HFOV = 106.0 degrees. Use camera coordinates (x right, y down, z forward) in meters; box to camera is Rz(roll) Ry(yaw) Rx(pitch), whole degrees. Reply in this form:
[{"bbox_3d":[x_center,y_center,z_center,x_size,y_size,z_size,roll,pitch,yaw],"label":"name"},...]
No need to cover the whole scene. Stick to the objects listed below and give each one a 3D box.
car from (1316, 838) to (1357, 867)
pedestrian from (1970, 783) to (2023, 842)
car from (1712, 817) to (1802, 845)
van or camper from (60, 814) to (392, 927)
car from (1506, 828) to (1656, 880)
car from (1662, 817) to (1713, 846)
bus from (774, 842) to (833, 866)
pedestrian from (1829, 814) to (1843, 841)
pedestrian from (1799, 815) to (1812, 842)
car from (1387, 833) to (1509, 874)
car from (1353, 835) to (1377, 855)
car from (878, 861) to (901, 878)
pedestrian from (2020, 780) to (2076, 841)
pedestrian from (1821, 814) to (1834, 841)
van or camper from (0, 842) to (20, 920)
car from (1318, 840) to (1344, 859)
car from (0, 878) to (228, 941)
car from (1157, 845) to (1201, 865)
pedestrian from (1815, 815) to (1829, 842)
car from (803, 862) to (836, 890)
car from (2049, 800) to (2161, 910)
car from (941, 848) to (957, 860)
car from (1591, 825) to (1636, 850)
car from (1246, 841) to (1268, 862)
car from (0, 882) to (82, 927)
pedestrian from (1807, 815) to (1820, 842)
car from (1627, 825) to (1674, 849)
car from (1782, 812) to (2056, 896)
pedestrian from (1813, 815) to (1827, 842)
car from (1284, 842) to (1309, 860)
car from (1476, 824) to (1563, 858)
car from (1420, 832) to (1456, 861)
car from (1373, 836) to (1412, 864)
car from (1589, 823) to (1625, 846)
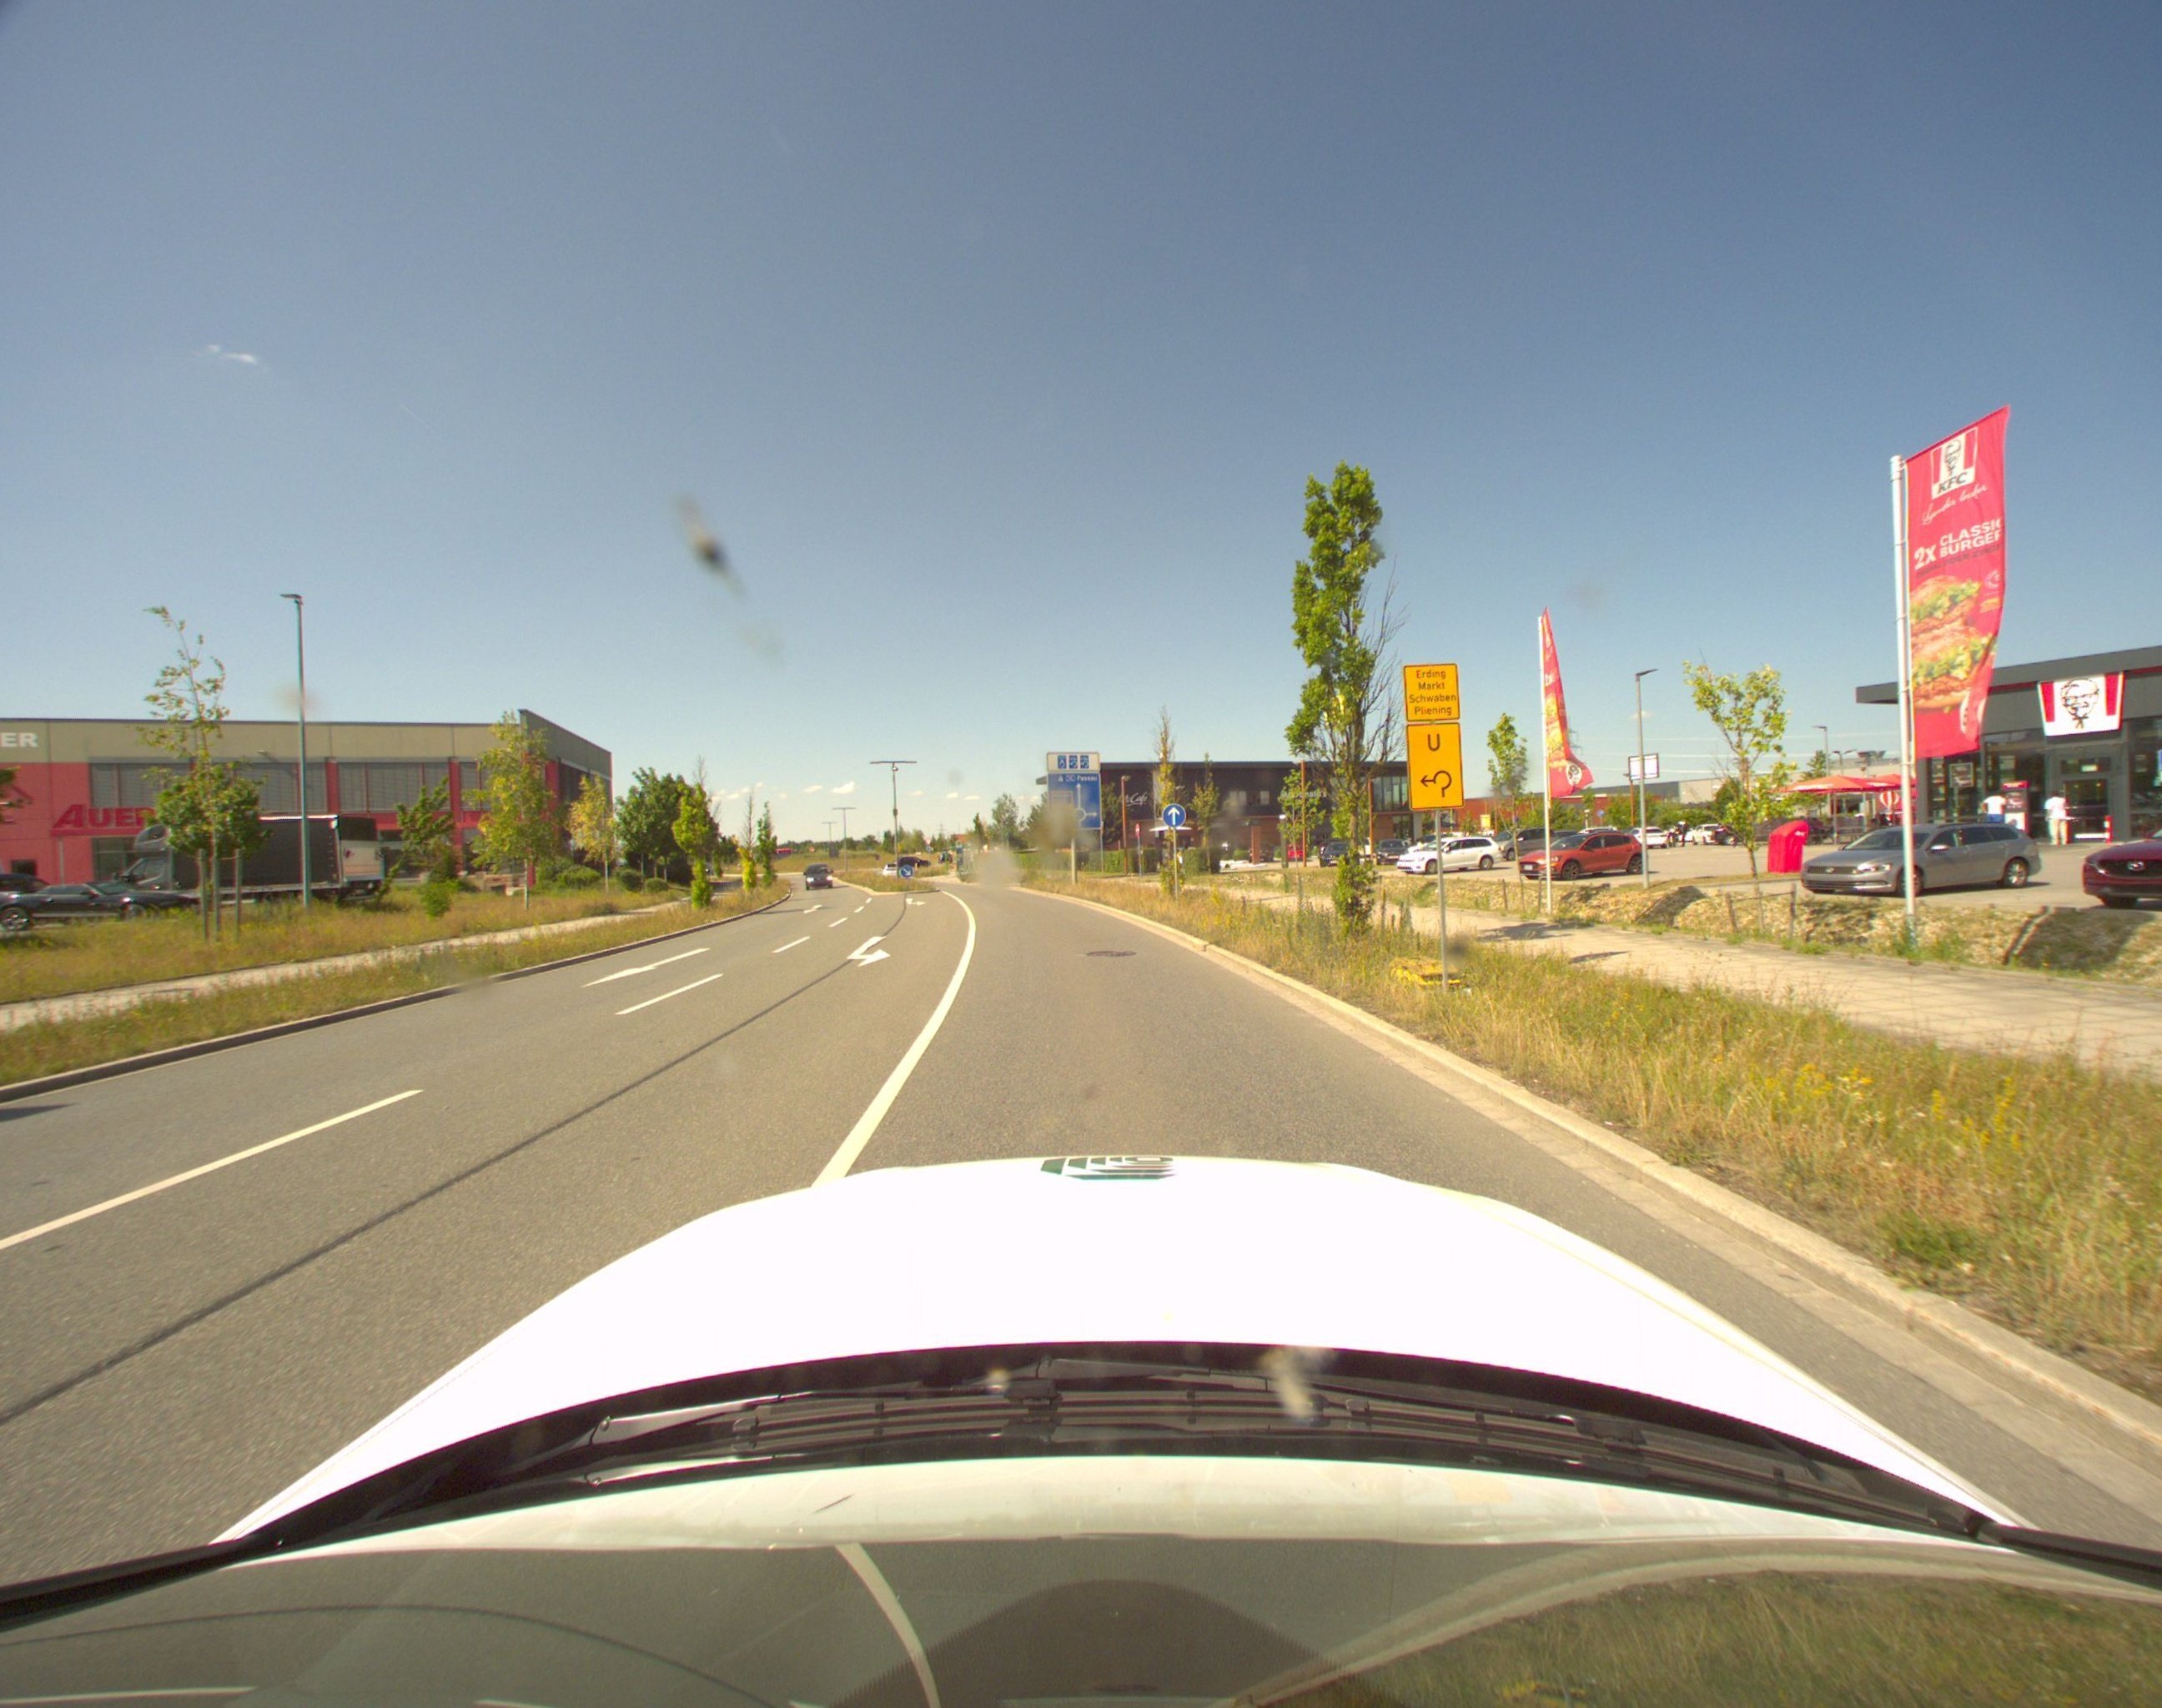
[{"bbox_3d":[14.295,-0.091,45.430,1.682,1.462,4.193,-3,0,24],"label":"car"},{"bbox_3d":[32.650,-1.470,29.060,0.915,2.013,0.886,-2,0,-16],"label":"pedestrian"},{"bbox_3d":[43.403,-1.459,52.420,4.116,1.522,1.802,-3,0,28],"label":"car"},{"bbox_3d":[-29.406,0.496,28.432,7.703,3.468,2.544,-2,0,-14],"label":"van or camper"},{"bbox_3d":[16.931,-0.026,27.630,4.208,1.490,1.861,-3,1,-12],"label":"car"},{"bbox_3d":[40.380,-1.476,54.325,1.769,1.757,4.193,-3,0,24],"label":"car"},{"bbox_3d":[-43.933,-0.068,129.489,2.768,3.078,12.247,-3,2,12],"label":"bus"},{"bbox_3d":[35.102,-1.224,37.873,0.380,1.240,0.290,-3,0,-21],"label":"pedestrian"},{"bbox_3d":[34.085,-1.190,38.310,0.380,1.240,0.290,-3,0,-21],"label":"pedestrian"},{"bbox_3d":[15.757,-0.044,35.048,4.529,1.490,1.861,-3,1,-12],"label":"car"},{"bbox_3d":[25.360,-0.828,72.610,1.777,1.702,4.022,-3,0,22],"label":"car"},{"bbox_3d":[-18.098,1.460,76.913,1.622,1.434,3.767,-2,0,-19],"label":"car"},{"bbox_3d":[33.107,-1.484,27.889,0.915,2.013,0.886,-2,0,-16],"label":"pedestrian"},{"bbox_3d":[34.988,-1.220,38.168,0.380,1.240,0.290,-3,0,-21],"label":"pedestrian"},{"bbox_3d":[-45.399,1.133,31.002,2.437,3.271,7.189,-2,0,-19],"label":"van or camper"},{"bbox_3d":[22.024,-0.440,71.653,1.777,1.513,4.021,-3,0,21],"label":"car"},{"bbox_3d":[-28.945,1.618,24.361,4.375,1.552,1.829,-2,0,-15],"label":"car"},{"bbox_3d":[7.540,0.103,63.105,1.798,1.434,3.974,-3,0,-19],"label":"car"},{"bbox_3d":[34.315,-1.197,37.733,0.380,1.240,0.290,-3,0,-21],"label":"pedestrian"},{"bbox_3d":[-18.566,1.504,57.754,1.958,1.794,4.396,-4,1,-20],"label":"car"},{"bbox_3d":[18.679,-0.087,13.150,4.147,1.665,1.866,-3,1,-5],"label":"car"},{"bbox_3d":[-17.941,0.007,110.624,1.613,1.434,3.788,-2,0,-3],"label":"car"},{"bbox_3d":[34.438,-1.069,52.765,1.769,1.451,4.193,-3,0,24],"label":"car"},{"bbox_3d":[15.005,-0.229,69.476,1.781,1.604,4.013,-3,0,12],"label":"car"},{"bbox_3d":[-42.543,2.008,32.414,1.667,1.671,4.055,-2,0,-21],"label":"car"},{"bbox_3d":[34.202,-1.193,38.030,0.380,1.240,0.290,-3,0,-21],"label":"pedestrian"},{"bbox_3d":[37.591,-1.116,53.857,1.769,1.451,4.193,-3,0,24],"label":"car"},{"bbox_3d":[18.239,-0.027,17.813,4.553,1.490,1.863,-3,1,-9],"label":"car"},{"bbox_3d":[34.887,-1.217,38.445,0.380,1.240,0.290,-3,0,-21],"label":"pedestrian"},{"bbox_3d":[18.499,-0.277,70.124,1.781,1.434,4.013,-3,0,12],"label":"car"},{"bbox_3d":[23.643,-0.708,43.916,4.170,1.635,1.779,-3,0,-20],"label":"car"},{"bbox_3d":[21.084,-0.466,48.072,1.769,1.579,4.193,-3,0,24],"label":"car"},{"bbox_3d":[17.884,-0.273,46.639,1.769,1.462,4.193,-3,0,24],"label":"car"},{"bbox_3d":[42.094,-1.554,65.236,1.769,1.757,4.193,-3,0,24],"label":"car"}]
